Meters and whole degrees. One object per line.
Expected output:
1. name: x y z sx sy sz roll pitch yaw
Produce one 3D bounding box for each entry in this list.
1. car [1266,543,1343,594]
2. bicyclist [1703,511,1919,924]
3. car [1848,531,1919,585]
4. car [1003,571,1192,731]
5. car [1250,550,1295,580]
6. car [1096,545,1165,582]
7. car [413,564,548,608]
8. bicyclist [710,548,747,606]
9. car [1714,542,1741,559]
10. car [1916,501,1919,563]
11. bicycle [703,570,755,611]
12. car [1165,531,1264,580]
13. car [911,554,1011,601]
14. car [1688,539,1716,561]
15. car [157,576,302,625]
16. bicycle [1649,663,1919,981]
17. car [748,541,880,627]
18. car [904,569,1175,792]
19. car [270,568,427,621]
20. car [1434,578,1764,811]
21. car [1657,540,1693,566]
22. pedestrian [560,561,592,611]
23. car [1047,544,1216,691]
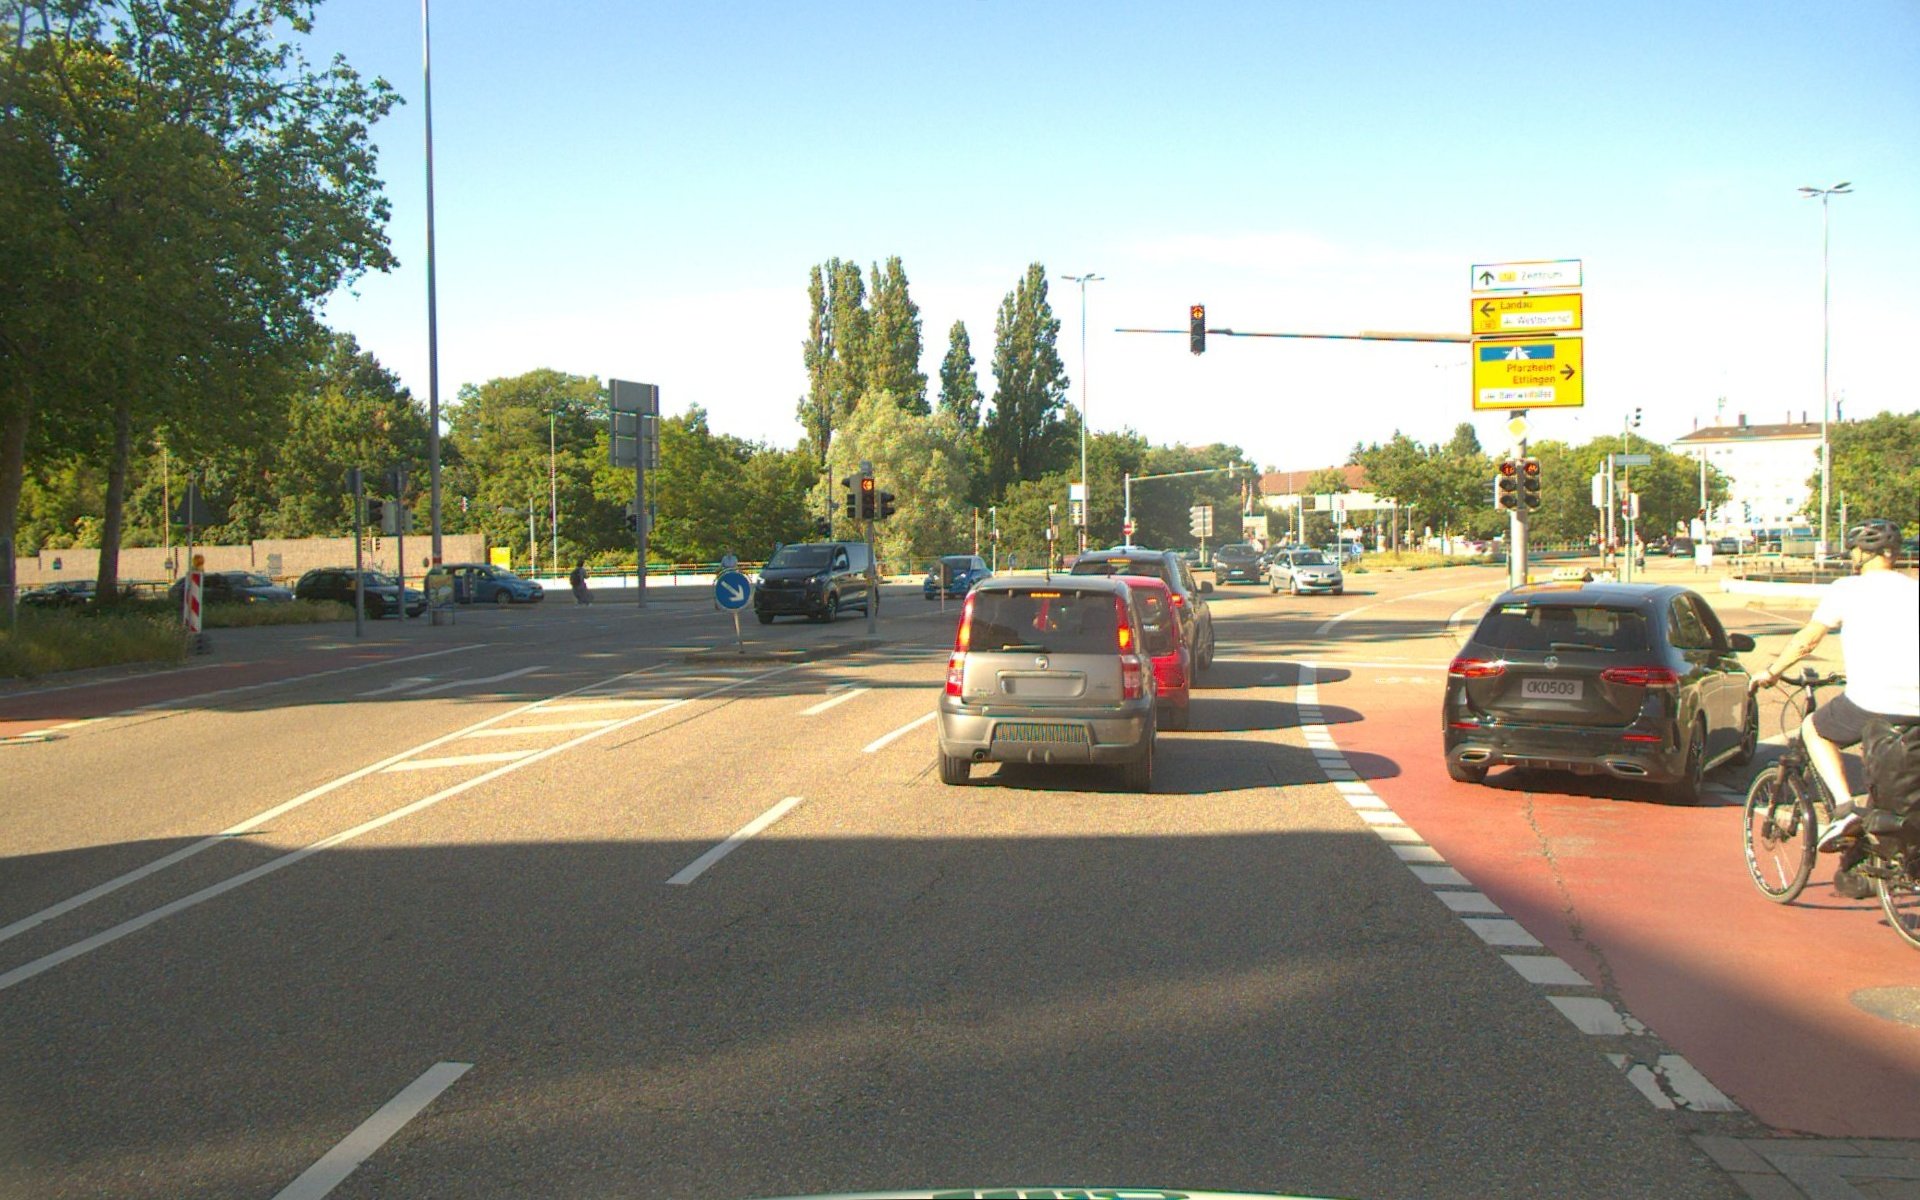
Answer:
1. car: 11.641 -1.086 56.151 1.782 1.610 4.105 -1 1 1
2. bicyclist: 4.040 0.497 7.519 0.783 1.735 1.084 1 0 -3
3. car: 37.568 -1.644 65.483 3.929 2.049 1.988 0 -1 42
4. car: 1.535 0.451 17.722 1.781 1.505 4.003 0 1 7
5. car: 15.980 -1.797 84.465 1.951 1.478 4.003 -1 1 15
6. car: 8.103 -1.732 78.092 1.797 1.682 4.626 -1 1 25
7. car: -16.946 -0.497 58.436 4.345 1.463 1.826 -1 1 22
8. bicyclist: -7.018 -0.710 50.162 0.672 1.731 1.199 0 1 16
9. car: 75.878 -4.908 163.501 1.957 1.668 3.991 -1 1 32
10. car: 43.614 -2.934 70.206 2.238 2.653 4.821 1 -1 -37
11. bicycle: -6.992 -0.306 50.237 0.672 1.223 2.329 0 1 16
12. car: 10.676 -1.823 69.713 1.971 1.868 4.320 1 -1 -28
13. car: 0.090 -0.808 58.005 1.784 1.529 4.448 -1 2 25
14. car: 65.305 -4.413 145.599 1.956 1.825 3.994 -1 1 29
15. car: -23.097 0.013 52.286 4.349 1.463 1.825 -1 1 26
16. bicycle: 4.042 0.903 7.431 0.783 1.130 2.400 1 0 -3
17. car: -3.540 -0.441 41.106 1.951 1.969 4.857 -1 1 11
18. car: 0.801 0.514 13.473 1.781 1.515 4.004 0 1 9
19. car: -17.957 -0.155 48.543 4.349 1.463 1.825 -1 1 26
20. car: 5.203 0.603 13.157 1.719 1.519 3.990 2 1 32
21. car: 55.795 -3.672 129.035 1.958 1.825 3.989 0 -1 32
22. pedestrian: -12.173 -0.425 52.459 0.672 1.565 1.366 0 -1 1
23. car: 2.496 0.155 23.124 1.829 1.821 4.418 1 2 12
